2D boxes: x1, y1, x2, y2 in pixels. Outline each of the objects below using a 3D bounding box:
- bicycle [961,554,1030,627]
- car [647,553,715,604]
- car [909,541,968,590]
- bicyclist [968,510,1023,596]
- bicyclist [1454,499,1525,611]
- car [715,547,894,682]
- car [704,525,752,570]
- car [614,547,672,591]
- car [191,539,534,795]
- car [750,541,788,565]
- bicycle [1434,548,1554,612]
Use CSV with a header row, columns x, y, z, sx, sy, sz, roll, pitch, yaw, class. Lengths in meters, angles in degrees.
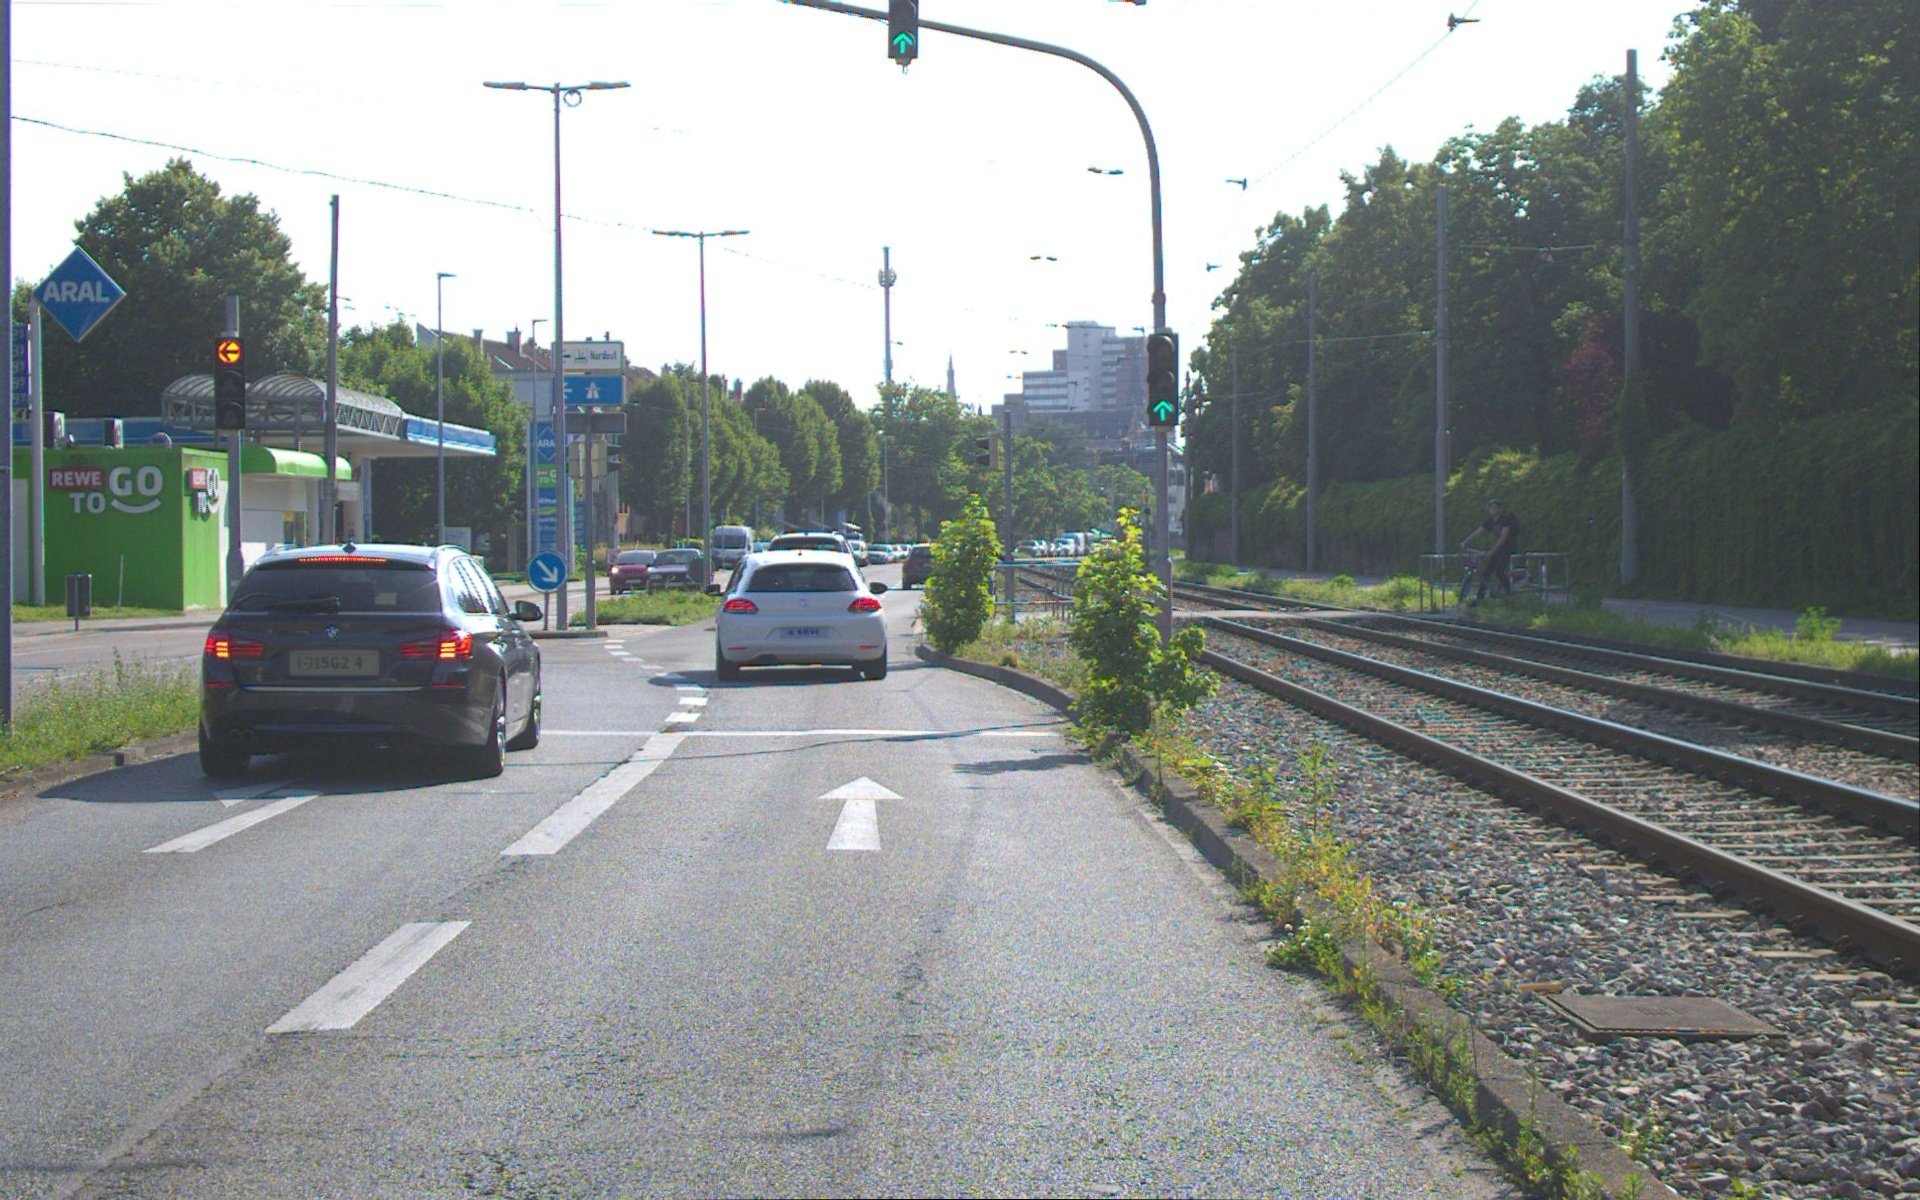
x,y,z,sx,sy,sz,roll,pitch,yaw,class
0.590,-0.165,56.596,0.643,1.150,1.935,0,1,15,bicycle
-8.000,-0.639,98.897,1.653,1.390,4.134,-1,1,0,car
-0.660,-1.103,108.073,1.749,1.480,3.601,1,1,1,car
0.589,-0.777,56.631,0.644,1.411,1.012,0,1,16,bicyclist
9.436,-0.803,61.254,1.034,1.987,0.946,0,1,24,bicyclist
-1.655,0.126,37.623,1.781,1.351,3.601,1,1,0,car
-12.537,-2.855,186.168,1.994,2.368,4.538,-1,1,3,car
-10.478,-1.040,113.818,1.574,1.412,3.333,-1,1,1,car
-3.852,0.362,22.839,1.760,1.480,4.646,1,1,-4,car
-11.838,-2.921,213.221,1.993,1.411,3.843,-1,1,2,car
9.511,-0.360,61.230,1.923,1.111,0.946,0,1,24,bicycle
